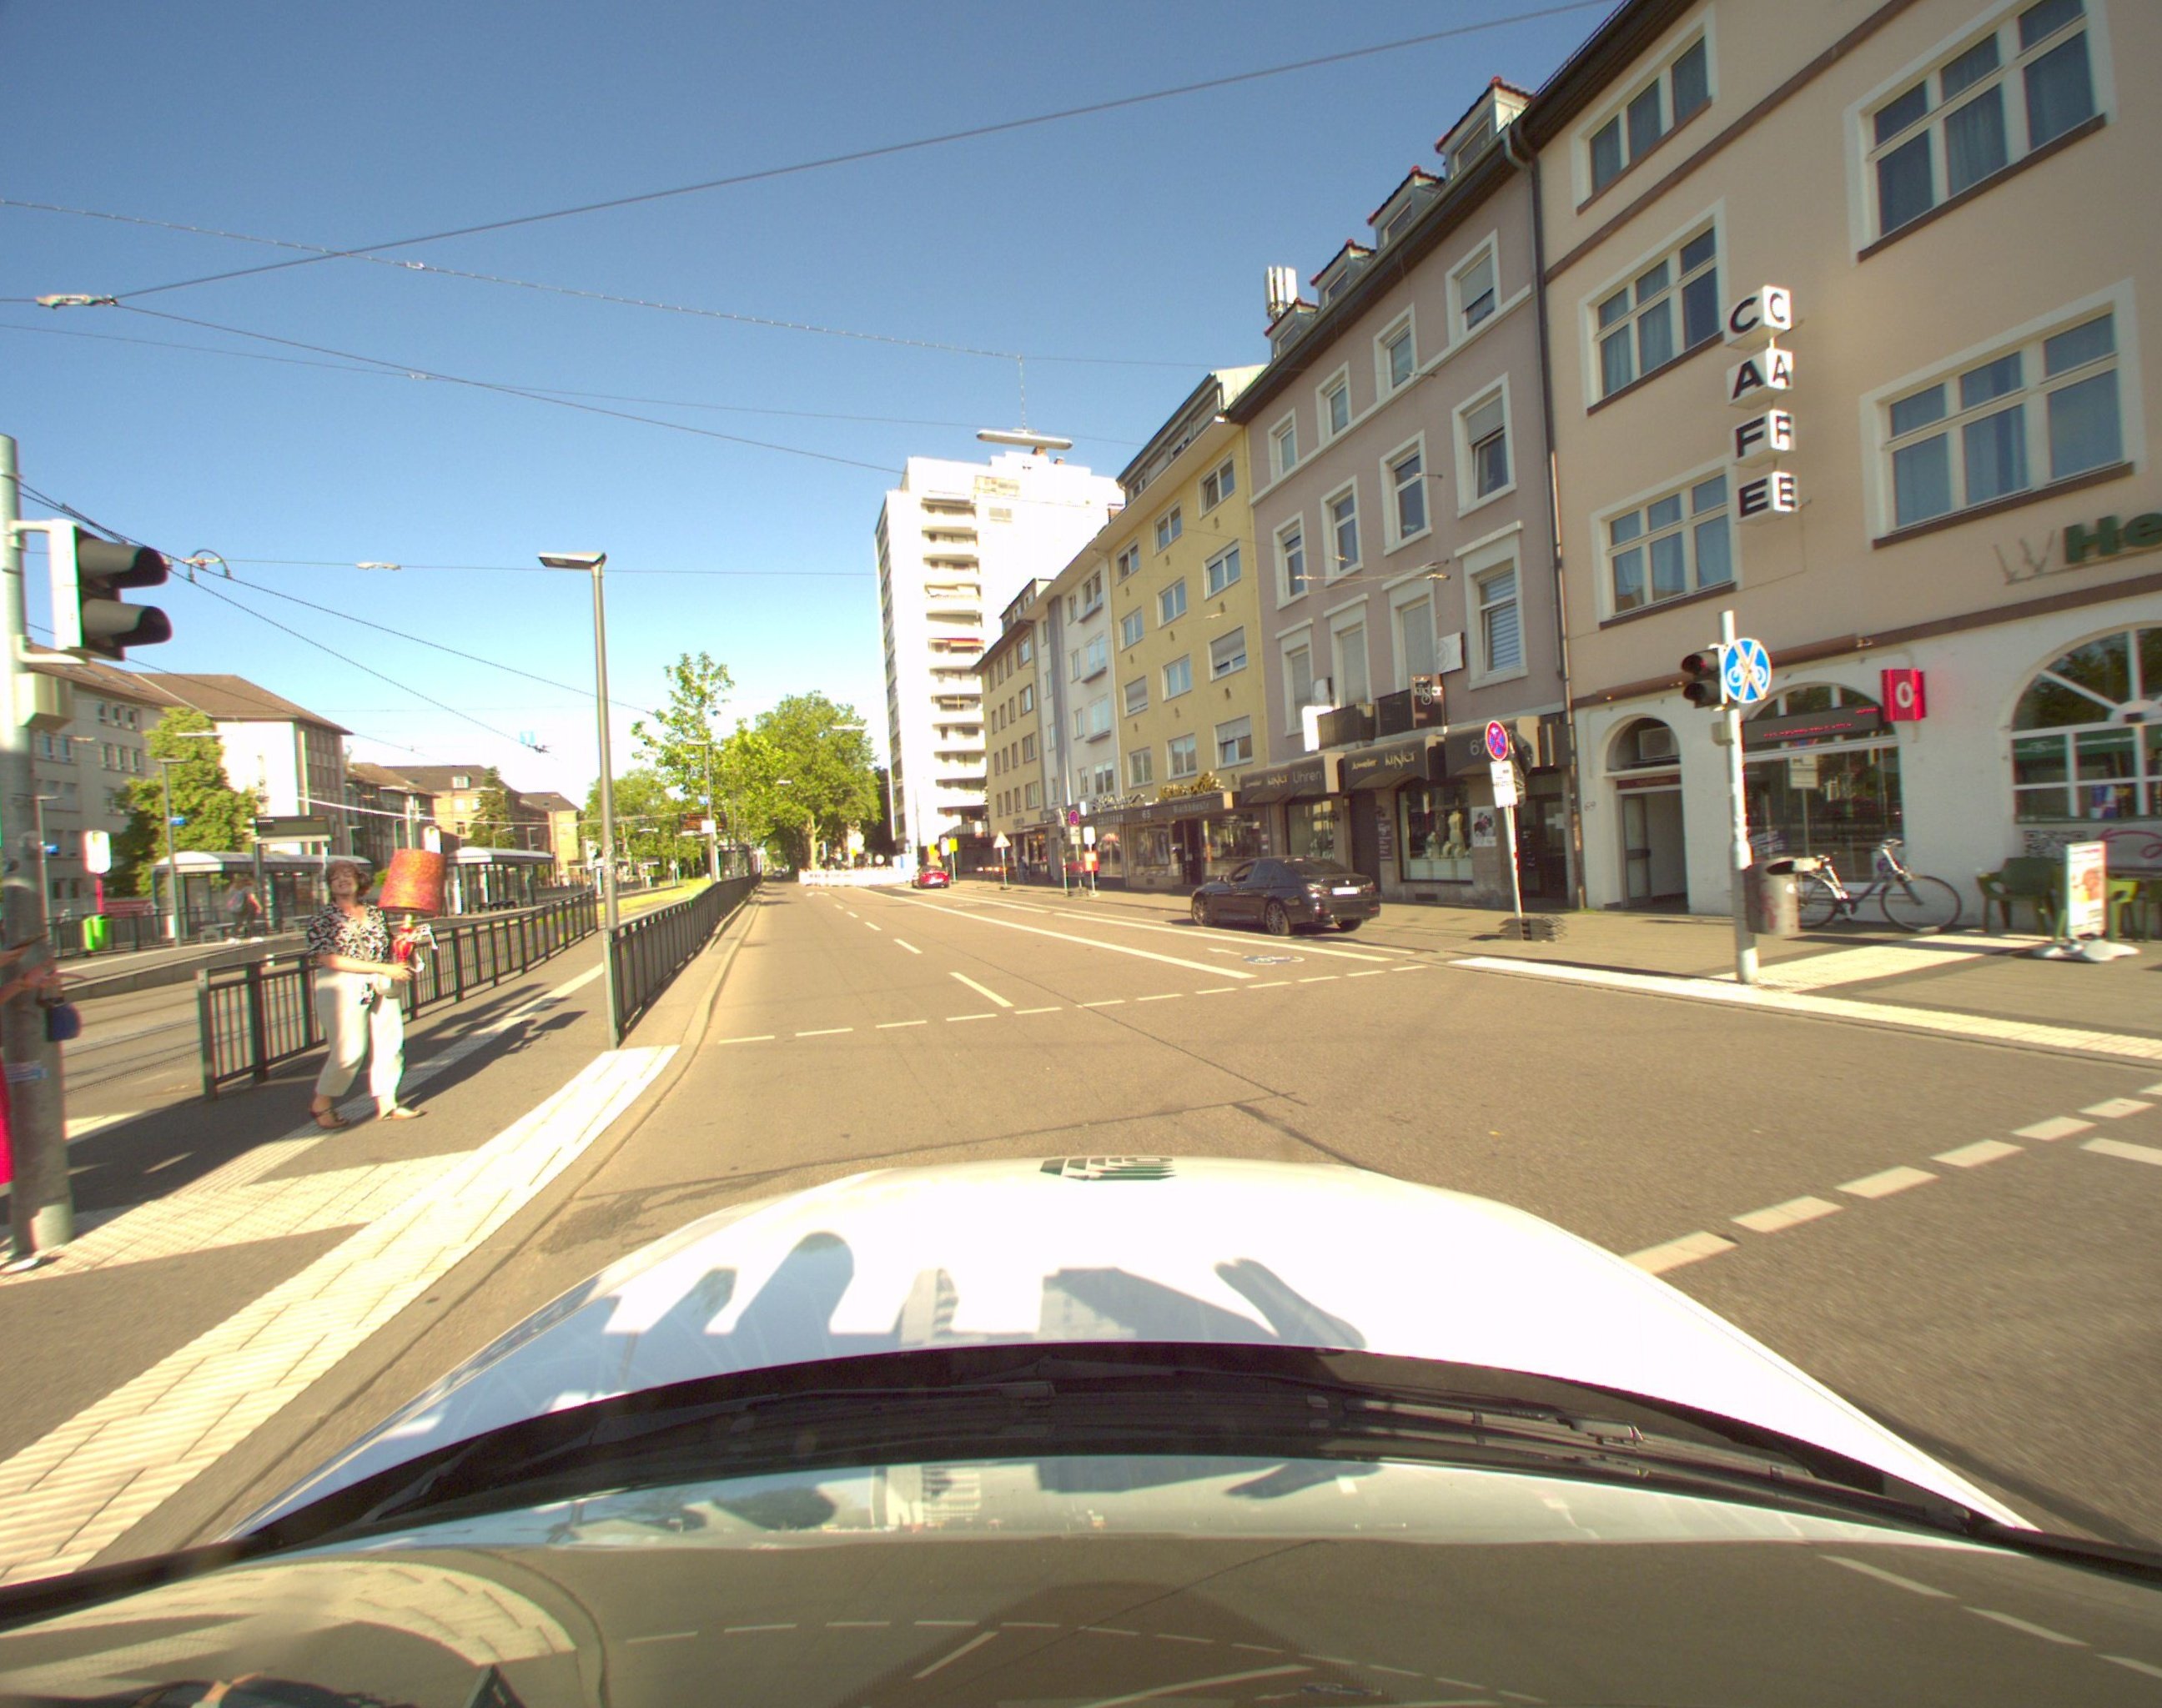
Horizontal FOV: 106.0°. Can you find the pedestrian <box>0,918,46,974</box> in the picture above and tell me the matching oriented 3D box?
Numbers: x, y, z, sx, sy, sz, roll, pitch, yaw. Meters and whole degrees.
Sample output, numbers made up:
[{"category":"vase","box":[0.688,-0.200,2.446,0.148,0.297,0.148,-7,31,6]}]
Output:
[{"category":"pedestrian","box":[-29.085,2.510,22.080,1.047,1.420,0.573,-4,0,-26]}]

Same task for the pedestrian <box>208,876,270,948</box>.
[{"category":"pedestrian","box":[-19.539,1.331,18.917,0.592,1.568,0.731,-3,0,0]}]

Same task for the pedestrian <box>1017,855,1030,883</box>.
[{"category":"pedestrian","box":[-3.216,0.825,45.609,0.508,1.562,0.463,-3,0,-18]}]

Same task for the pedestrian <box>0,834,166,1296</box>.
[{"category":"pedestrian","box":[-4.537,0.817,3.172,0.898,1.733,0.842,-4,0,5]}]

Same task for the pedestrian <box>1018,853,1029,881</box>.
[{"category":"pedestrian","box":[-3.429,0.757,48.689,0.471,1.644,0.505,-3,0,-19]}]

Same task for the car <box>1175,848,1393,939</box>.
[{"category":"car","box":[3.805,0.710,16.253,1.746,1.439,4.619,-3,0,-23]}]

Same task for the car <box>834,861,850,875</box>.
[{"category":"car","box":[-36.272,2.118,123.690,1.997,2.013,3.980,-3,0,-15]}]

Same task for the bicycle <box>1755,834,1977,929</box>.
[{"category":"bicycle","box":[9.993,0.342,10.466,0.585,1.067,1.932,-4,0,-27]}]

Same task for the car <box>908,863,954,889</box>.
[{"category":"car","box":[-9.332,1.332,50.511,1.944,1.430,3.969,-3,0,-23]}]

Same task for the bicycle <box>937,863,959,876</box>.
[{"category":"bicycle","box":[-12.543,1.458,76.839,1.939,1.067,0.582,-3,0,-5]}]

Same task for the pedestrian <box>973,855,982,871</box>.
[{"category":"pedestrian","box":[-10.585,0.924,83.326,0.676,1.641,0.576,-4,1,-14]}]

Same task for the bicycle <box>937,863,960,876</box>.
[{"category":"bicycle","box":[-12.376,1.463,76.095,1.939,1.067,0.582,-3,0,-5]}]

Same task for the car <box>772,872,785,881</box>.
[{"category":"car","box":[-54.709,4.040,147.142,1.976,1.509,3.970,-3,0,-22]}]

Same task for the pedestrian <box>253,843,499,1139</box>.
[{"category":"pedestrian","box":[-4.513,0.824,5.263,0.815,1.733,0.792,-4,0,16]}]
